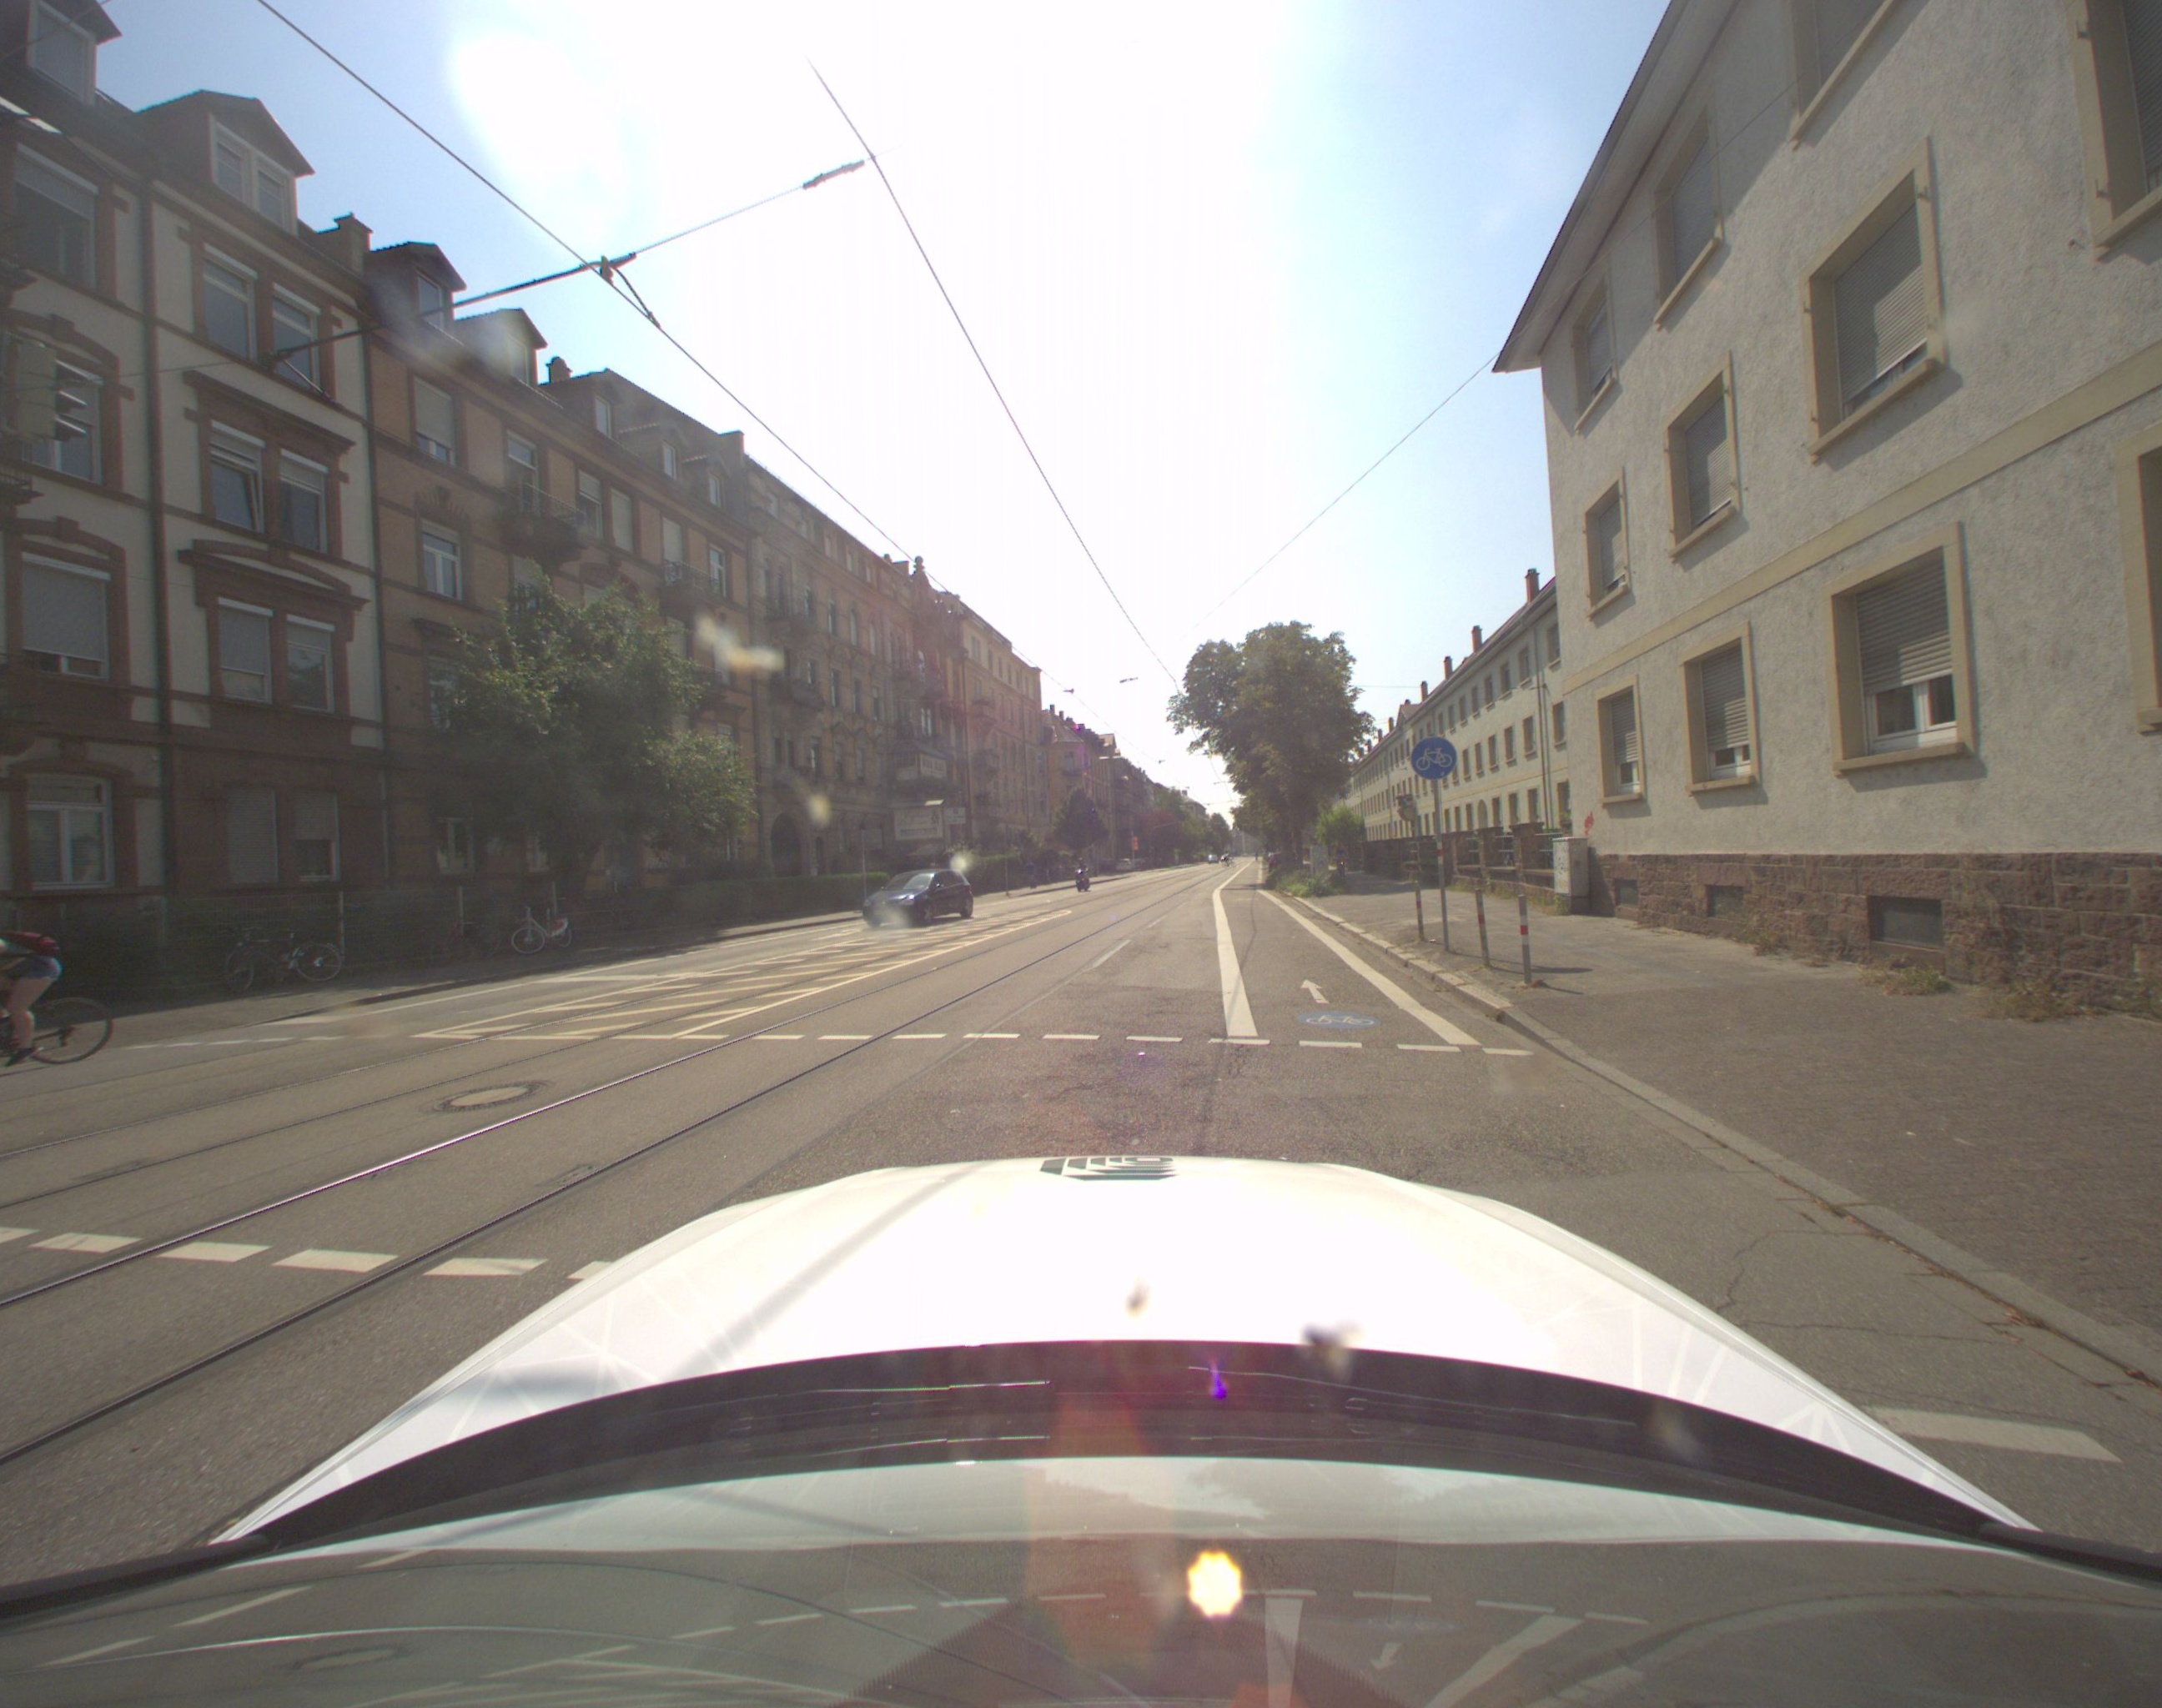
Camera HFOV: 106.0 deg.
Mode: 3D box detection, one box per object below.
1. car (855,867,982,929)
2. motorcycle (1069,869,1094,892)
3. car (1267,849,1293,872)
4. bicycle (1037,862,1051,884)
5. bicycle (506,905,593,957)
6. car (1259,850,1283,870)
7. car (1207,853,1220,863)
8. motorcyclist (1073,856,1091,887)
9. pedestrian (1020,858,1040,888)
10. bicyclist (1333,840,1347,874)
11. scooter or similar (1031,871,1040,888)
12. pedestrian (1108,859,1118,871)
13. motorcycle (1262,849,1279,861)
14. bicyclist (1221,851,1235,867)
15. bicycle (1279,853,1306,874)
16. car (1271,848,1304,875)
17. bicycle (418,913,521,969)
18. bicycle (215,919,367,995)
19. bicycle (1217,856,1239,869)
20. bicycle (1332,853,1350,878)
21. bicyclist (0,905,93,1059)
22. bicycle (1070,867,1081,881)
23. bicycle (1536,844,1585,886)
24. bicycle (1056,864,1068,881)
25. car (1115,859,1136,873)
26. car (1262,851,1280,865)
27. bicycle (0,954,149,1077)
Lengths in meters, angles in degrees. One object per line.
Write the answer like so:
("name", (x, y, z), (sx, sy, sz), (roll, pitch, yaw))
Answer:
("car", (-4.446, 1.160, 22.927), (1.714, 1.433, 4.194), (-2, 0, 16))
("motorcycle", (0.054, 1.318, 40.924), (0.686, 1.031, 2.165), (-3, -1, 14))
("car", (14.130, 0.424, 57.994), (1.606, 1.477, 4.053), (-5, -1, 13))
("bicycle", (-2.451, 1.258, 54.113), (0.387, 1.406, 1.587), (-3, -1, 13))
("bicycle", (-11.756, 1.683, 18.071), (0.483, 0.986, 1.664), (-3, 0, 16))
("car", (15.933, 0.496, 68.401), (1.743, 1.477, 4.473), (-7, -2, 13))
("car", (23.335, 0.686, 143.317), (1.815, 1.540, 4.013), (-4, -1, 12))
("motorcyclist", (0.041, 0.884, 40.980), (0.684, 1.511, 0.775), (-3, -1, 13))
("pedestrian", (-3.031, 1.124, 48.794), (0.877, 1.756, 0.873), (-3, -1, 12))
("bicyclist", (11.620, 0.143, 36.501), (0.434, 1.512, 0.473), (-3, -1, 9))
("scooter or similar", (-2.701, 1.506, 48.142), (0.398, 0.982, 0.585), (-2, -1, 5))
("pedestrian", (4.068, 1.437, 104.070), (0.886, 1.511, 0.864), (-3, -1, -19))
("motorcycle", (27.771, 0.194, 119.377), (0.973, 1.540, 2.320), (-2, -4, -36))
("bicyclist", (16.658, 0.563, 92.467), (0.961, 1.837, 1.115), (-2, -2, -44))
("bicycle", (11.527, 0.514, 44.362), (1.394, 1.108, 0.386), (-3, -1, -24))
("car", (12.766, 0.451, 50.253), (1.603, 1.530, 3.516), (-5, -1, 19))
("bicycle", (-12.290, 1.723, 16.423), (0.483, 0.941, 1.664), (-3, 0, 16))
("bicycle", (-13.173, 1.688, 13.653), (0.483, 1.021, 1.785), (-3, 0, 16))
("bicycle", (16.707, 0.983, 92.479), (1.137, 1.269, 2.728), (-4, -1, 43))
("bicycle", (11.619, 0.494, 36.380), (0.437, 1.047, 1.834), (-3, -1, 9))
("bicyclist", (-10.838, 1.289, 8.286), (0.576, 1.470, 0.779), (-3, -1, 12))
("bicycle", (-0.399, 1.549, 64.360), (0.387, 1.038, 1.840), (-3, 0, 13))
("bicycle", (12.639, 0.274, 21.522), (0.437, 1.047, 1.834), (-3, -1, 9))
("bicycle", (-1.357, 1.352, 58.735), (0.387, 1.147, 1.587), (-3, -1, 13))
("car", (5.308, 1.417, 97.078), (1.982, 1.594, 4.370), (-4, -1, 9))
("car", (22.425, 0.462, 96.204), (1.879, 1.477, 4.856), (-3, -1, 12))
("bicycle", (-10.841, 1.663, 8.182), (0.576, 1.066, 1.850), (-3, 0, 12))
